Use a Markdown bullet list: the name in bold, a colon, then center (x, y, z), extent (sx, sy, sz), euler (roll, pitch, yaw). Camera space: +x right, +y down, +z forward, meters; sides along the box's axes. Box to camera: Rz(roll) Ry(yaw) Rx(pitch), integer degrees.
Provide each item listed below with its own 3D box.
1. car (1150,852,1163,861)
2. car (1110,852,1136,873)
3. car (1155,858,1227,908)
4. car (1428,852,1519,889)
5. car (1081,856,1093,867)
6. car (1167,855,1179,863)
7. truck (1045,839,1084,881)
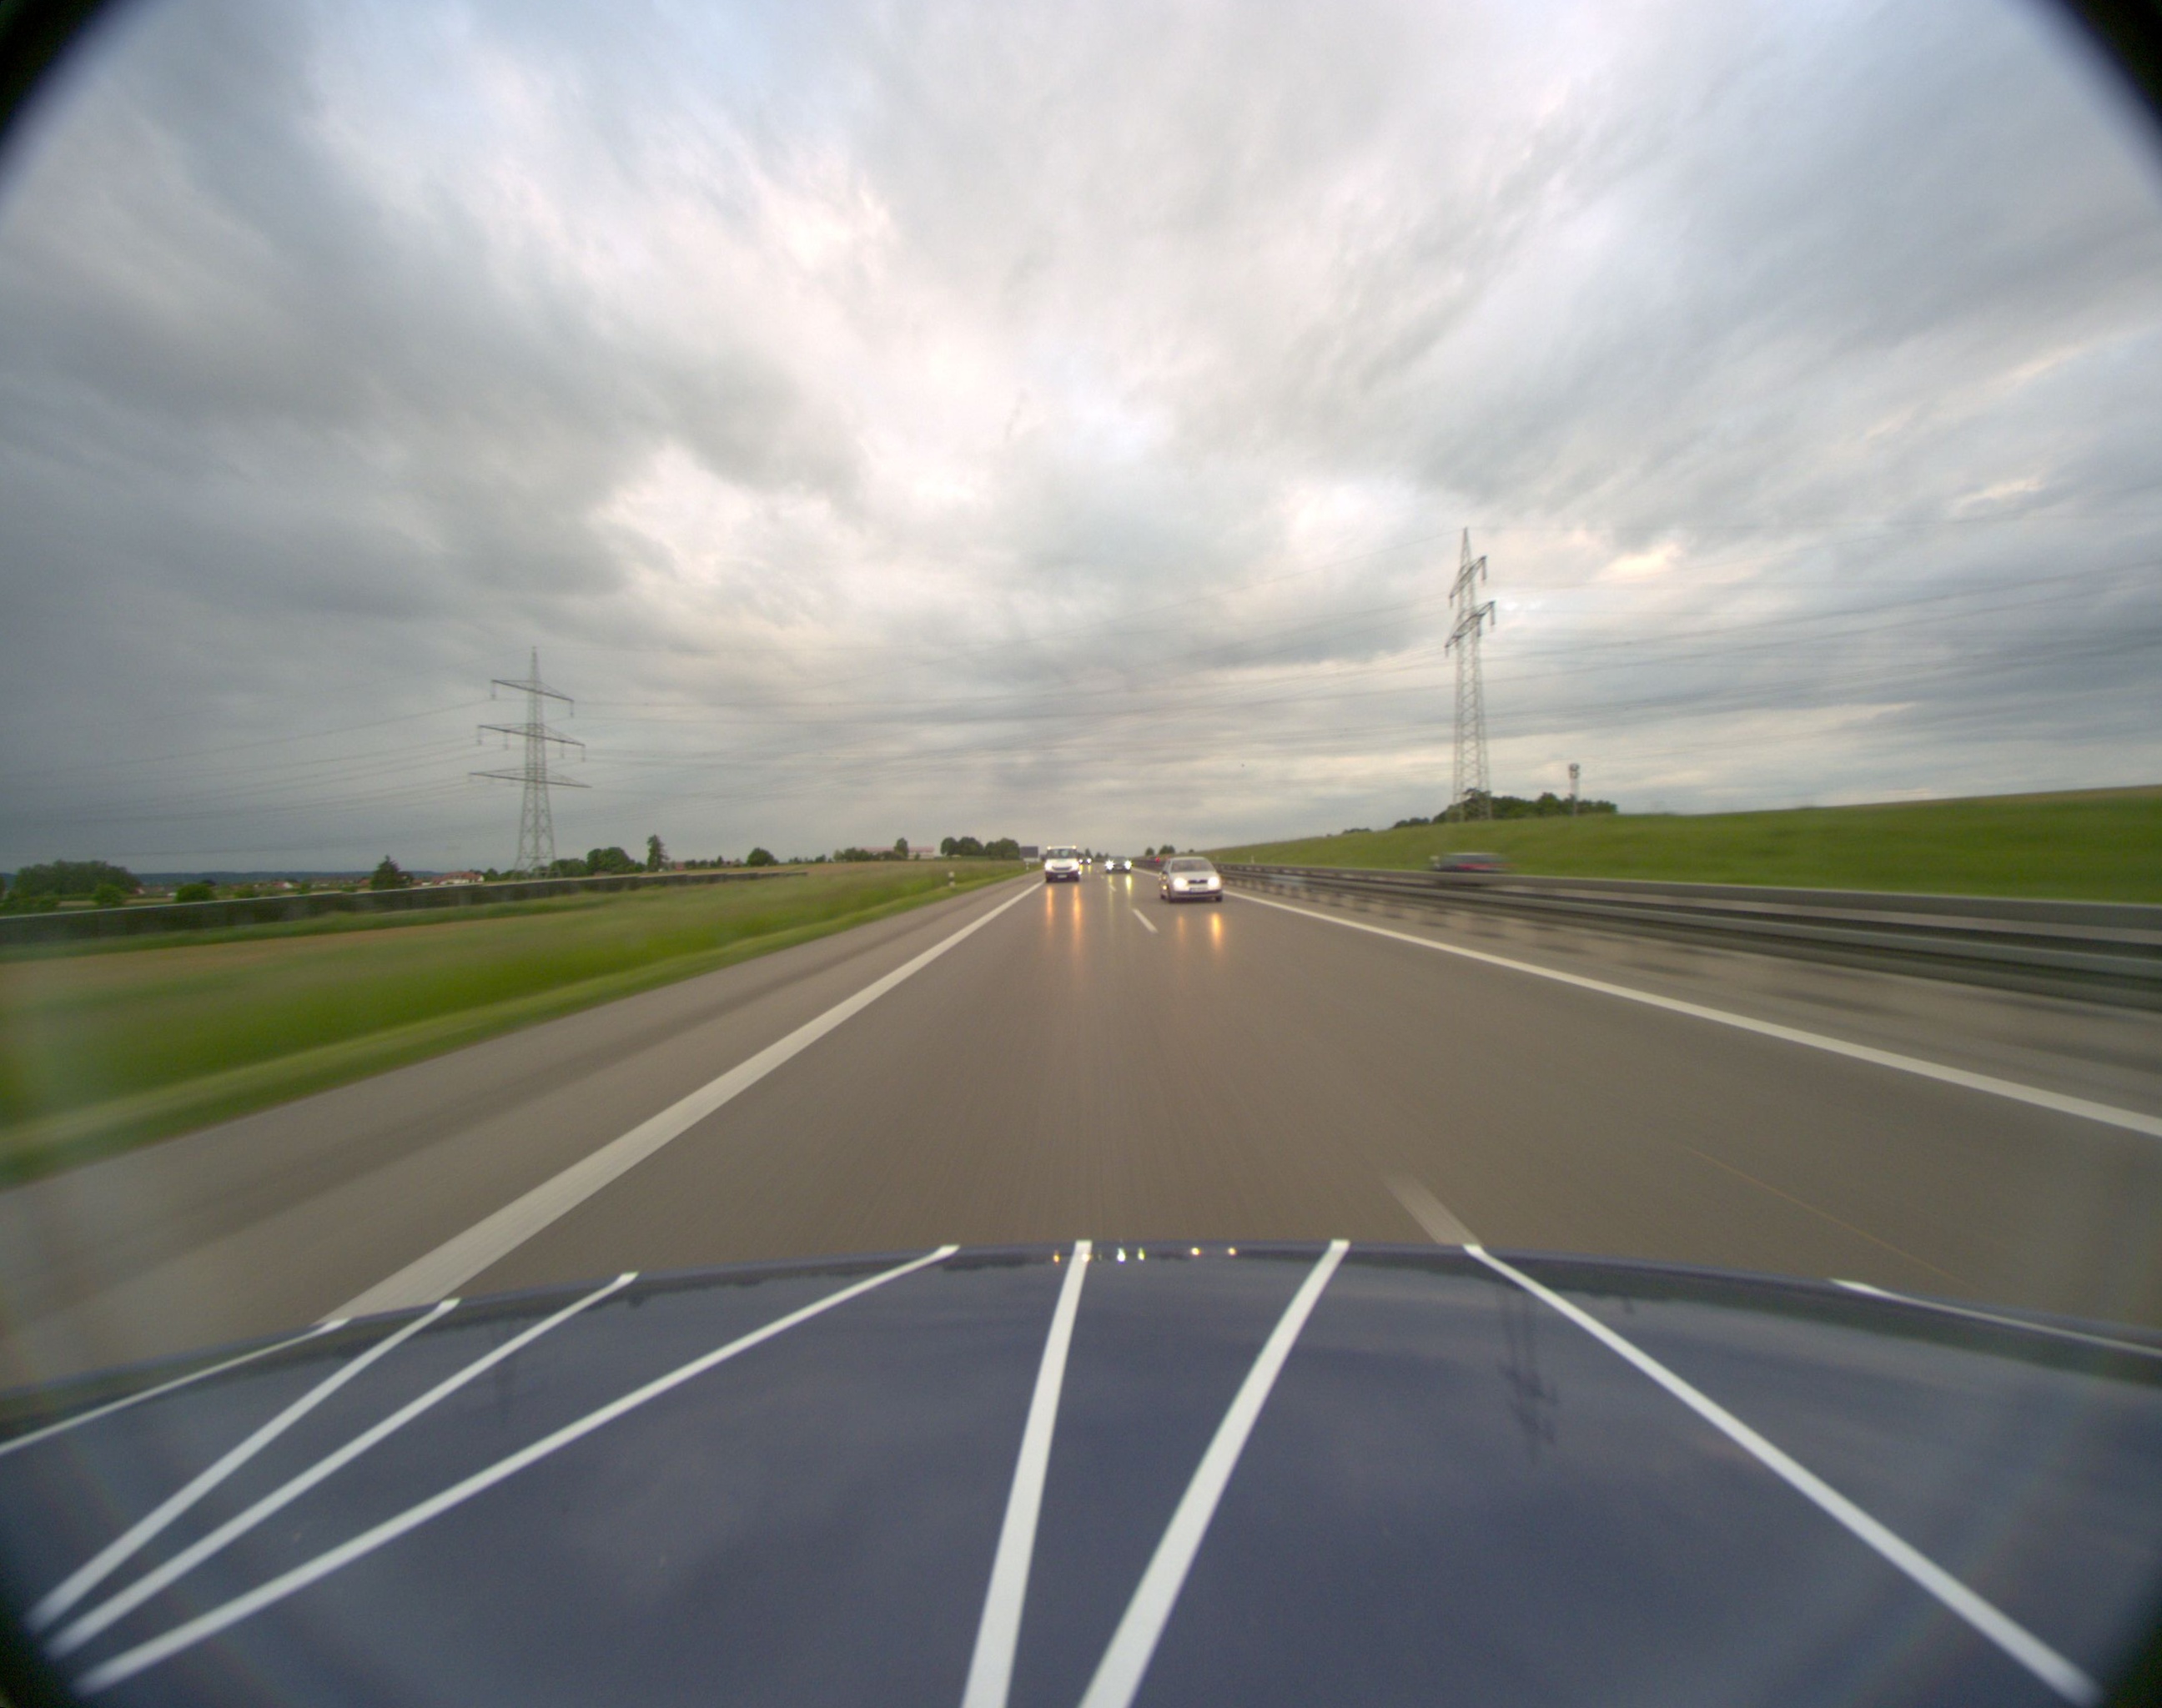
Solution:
- **car**: center (12.840, 0.457, 129.408), extent (1.743, 1.448, 5.121), euler (-3, 0, 1)
- **car**: center (3.446, 0.695, 63.709), extent (1.951, 1.620, 4.536), euler (-1, 0, 1)
- **car**: center (3.448, 0.861, 24.495), extent (1.592, 1.381, 4.601), euler (0, 0, -1)
- **car**: center (16.419, 0.663, 32.002), extent (1.678, 1.352, 4.011), euler (-4, 0, 0)
- **car**: center (1.160, 1.348, 139.387), extent (1.999, 2.002, 4.460), euler (-3, 0, -1)
- **car**: center (17.357, 0.946, 143.450), extent (1.532, 1.425, 4.434), euler (-3, 0, 0)
- **truck**: center (-0.991, 0.361, 47.922), extent (2.177, 2.346, 7.696), euler (-3, 0, -1)
